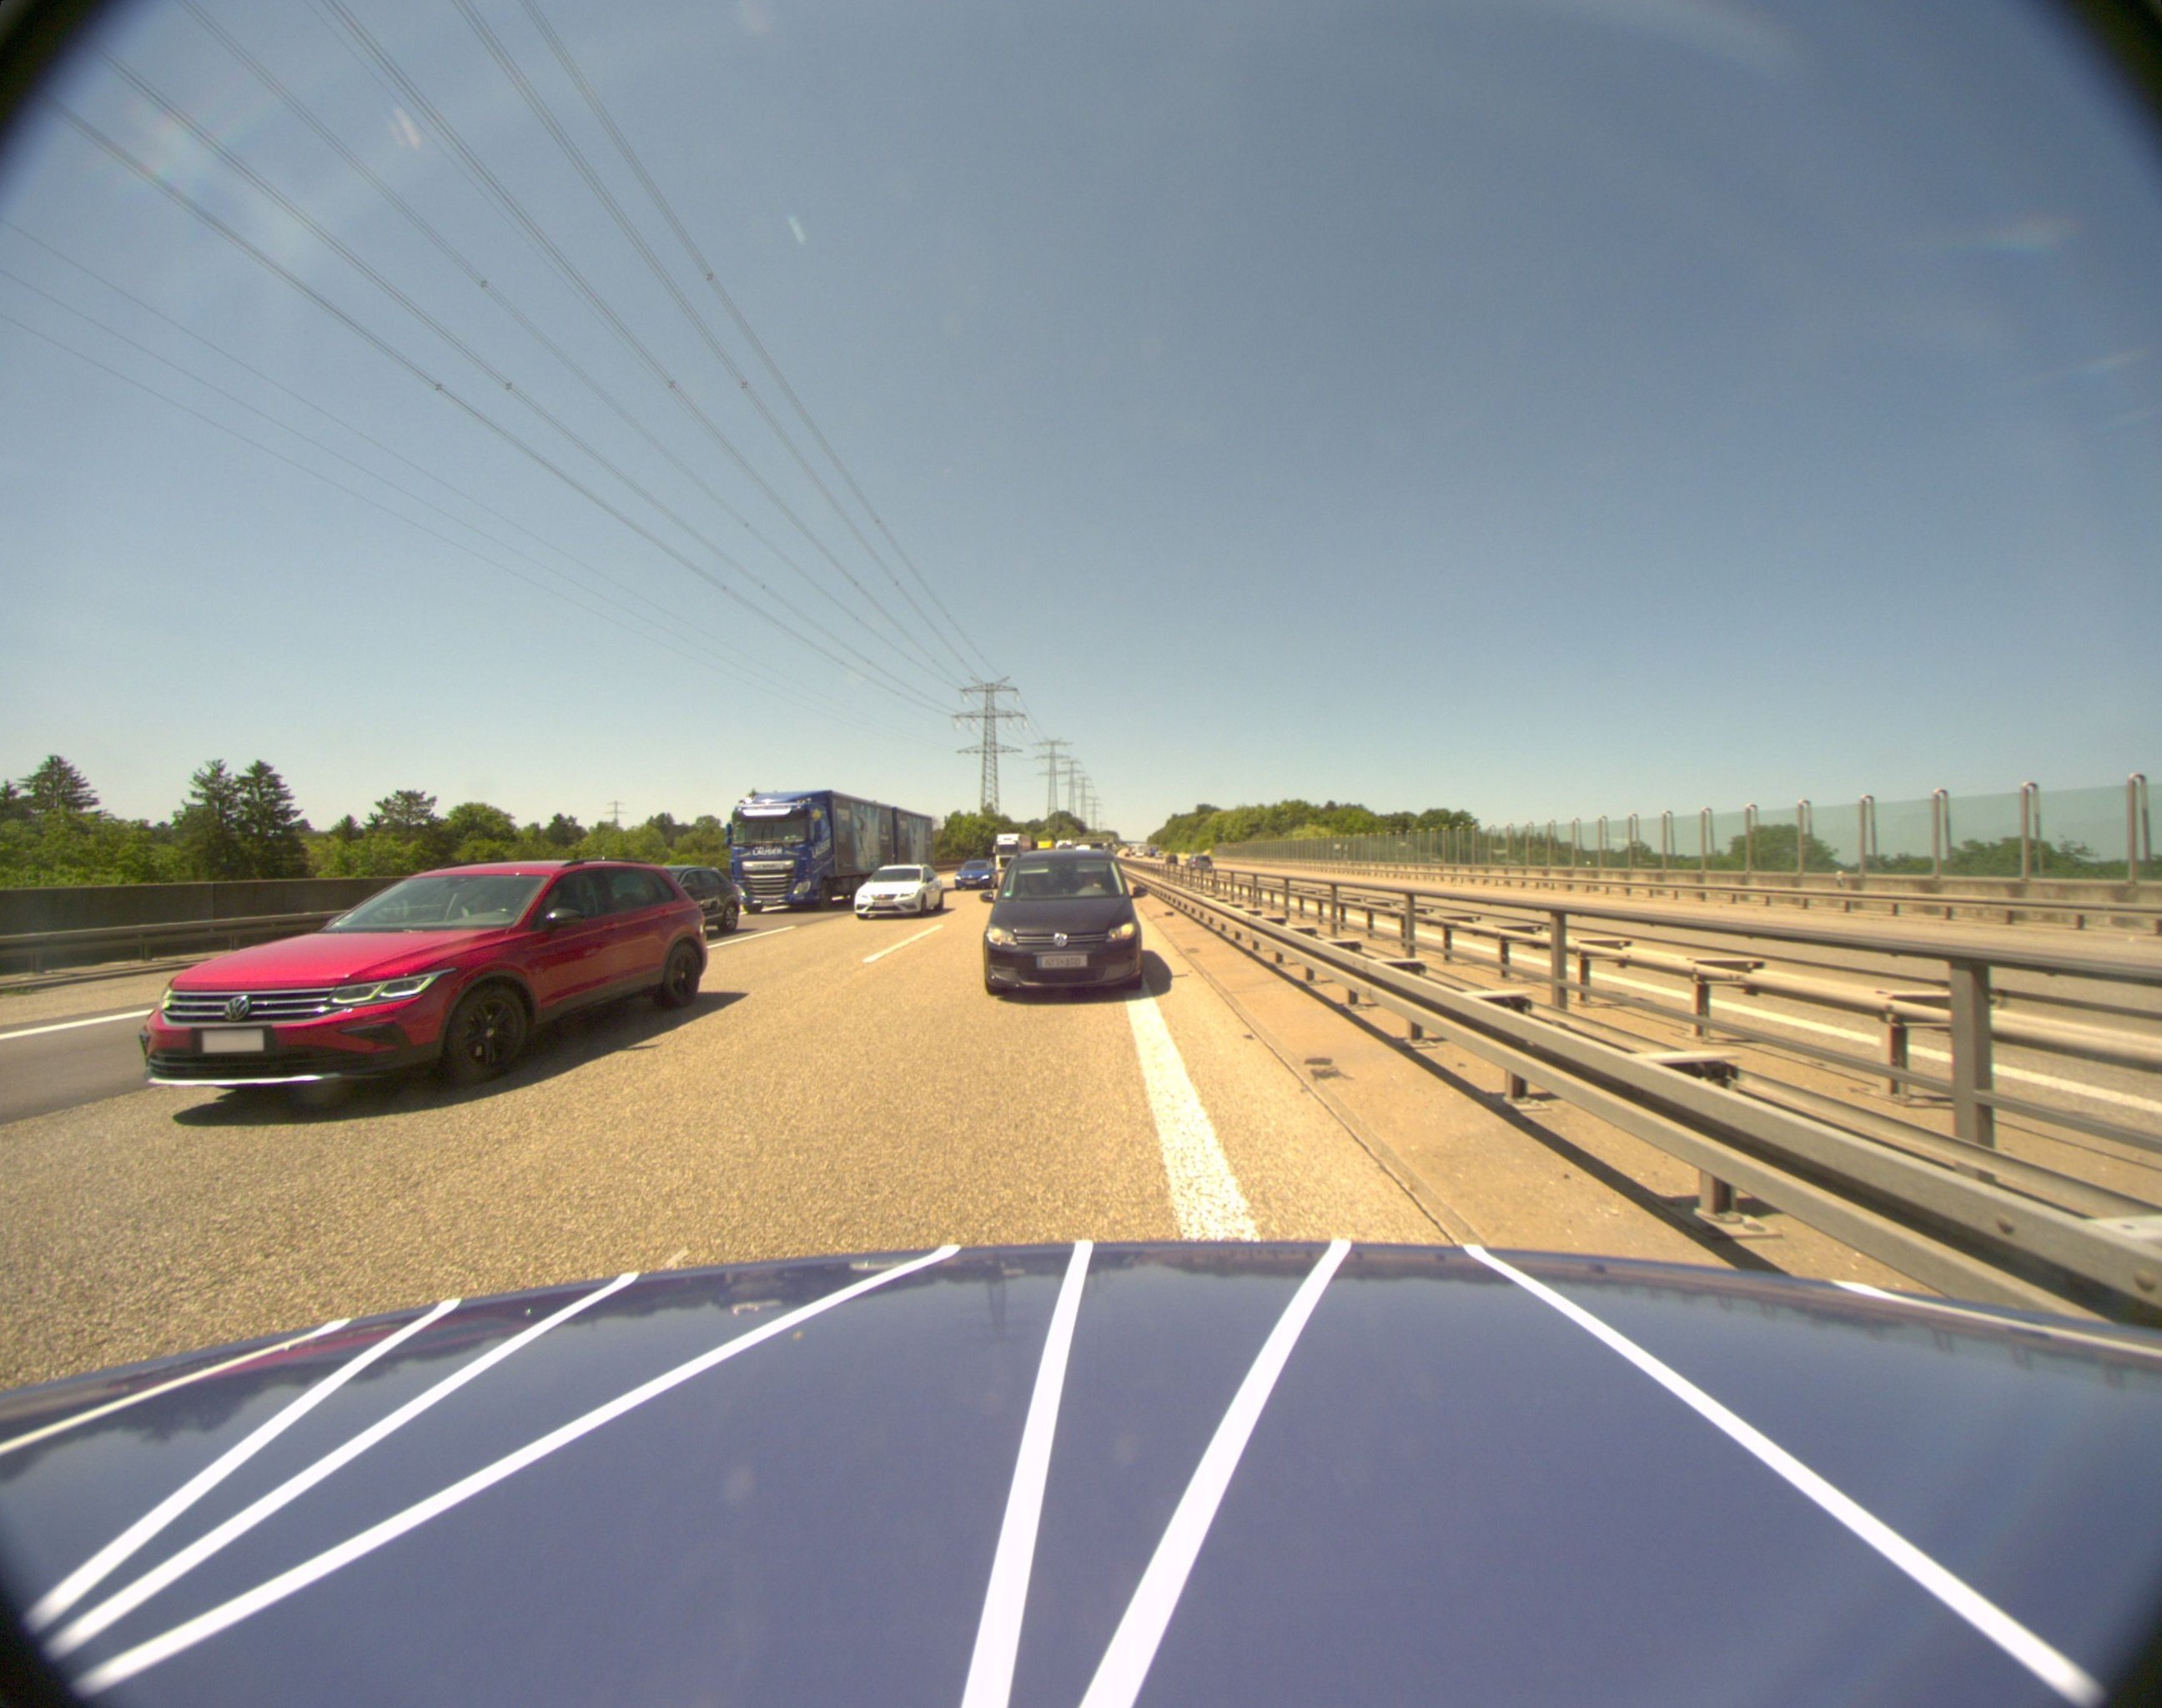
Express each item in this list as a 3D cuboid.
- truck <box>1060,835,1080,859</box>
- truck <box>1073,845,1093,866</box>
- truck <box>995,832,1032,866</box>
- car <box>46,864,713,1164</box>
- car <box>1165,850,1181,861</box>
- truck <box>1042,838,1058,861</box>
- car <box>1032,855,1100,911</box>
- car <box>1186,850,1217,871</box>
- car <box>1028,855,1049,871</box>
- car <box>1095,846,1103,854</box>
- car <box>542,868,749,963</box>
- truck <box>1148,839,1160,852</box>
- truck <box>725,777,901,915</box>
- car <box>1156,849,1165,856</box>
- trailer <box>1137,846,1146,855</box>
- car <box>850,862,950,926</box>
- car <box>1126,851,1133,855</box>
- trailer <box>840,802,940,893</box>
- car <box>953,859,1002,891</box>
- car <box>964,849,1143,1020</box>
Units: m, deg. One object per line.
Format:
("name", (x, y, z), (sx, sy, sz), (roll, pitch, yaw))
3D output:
("truck", (-1.823, -1.251, 133.358), (2.980, 3.832, 10.561), (-2, 1, 1))
("truck", (0.294, 0.144, 92.833), (2.284, 2.479, 5.861), (-2, 1, 1))
("truck", (-7.528, -0.583, 86.335), (2.985, 3.538, 10.967), (-2, 1, 1))
("car", (-5.140, 0.967, 6.572), (1.779, 1.652, 4.224), (-1, 0, 0))
("car", (14.731, 0.270, 121.313), (1.999, 1.662, 4.186), (1, 0, 0))
("truck", (-5.735, -0.890, 142.583), (2.346, 4.058, 8.278), (-2, 1, 1))
("car", (-0.382, 0.802, 23.282), (1.845, 1.495, 4.377), (-1, 0, 1))
("car", (9.773, 0.521, 61.948), (1.810, 1.618, 4.477), (-2, 0, 0))
("car", (-4.132, 0.853, 73.964), (1.763, 1.495, 4.094), (-2, 0, 0))
("car", (4.576, -0.950, 194.444), (1.998, 2.002, 4.000), (-2, 1, 1))
("car", (-8.563, 1.122, 15.426), (1.740, 1.518, 4.106), (-2, 0, 1))
("truck", (22.419, -2.616, 233.009), (2.876, 4.062, 9.988), (1, 1, 2))
("truck", (-9.228, -0.284, 27.912), (2.529, 4.043, 10.446), (-2, 1, 1))
("car", (21.148, -0.377, 202.352), (1.998, 2.002, 4.000), (-1, 0, 1))
("trailer", (18.416, -1.174, 232.291), (2.322, 2.690, 6.361), (1, 0, 1))
("car", (-4.988, 1.047, 21.520), (1.843, 1.481, 4.071), (-2, 0, -1))
("car", (15.313, -0.275, 240.370), (1.772, 1.411, 4.266), (0, 0, 1))
("trailer", (-9.118, -0.285, 37.425), (2.572, 3.921, 8.479), (-2, 0, 1))
("car", (-5.183, 1.010, 38.639), (1.739, 1.437, 4.210), (-1, 0, 2))
("car", (-0.264, 0.801, 9.660), (1.740, 1.652, 3.999), (-2, 1, 0))
